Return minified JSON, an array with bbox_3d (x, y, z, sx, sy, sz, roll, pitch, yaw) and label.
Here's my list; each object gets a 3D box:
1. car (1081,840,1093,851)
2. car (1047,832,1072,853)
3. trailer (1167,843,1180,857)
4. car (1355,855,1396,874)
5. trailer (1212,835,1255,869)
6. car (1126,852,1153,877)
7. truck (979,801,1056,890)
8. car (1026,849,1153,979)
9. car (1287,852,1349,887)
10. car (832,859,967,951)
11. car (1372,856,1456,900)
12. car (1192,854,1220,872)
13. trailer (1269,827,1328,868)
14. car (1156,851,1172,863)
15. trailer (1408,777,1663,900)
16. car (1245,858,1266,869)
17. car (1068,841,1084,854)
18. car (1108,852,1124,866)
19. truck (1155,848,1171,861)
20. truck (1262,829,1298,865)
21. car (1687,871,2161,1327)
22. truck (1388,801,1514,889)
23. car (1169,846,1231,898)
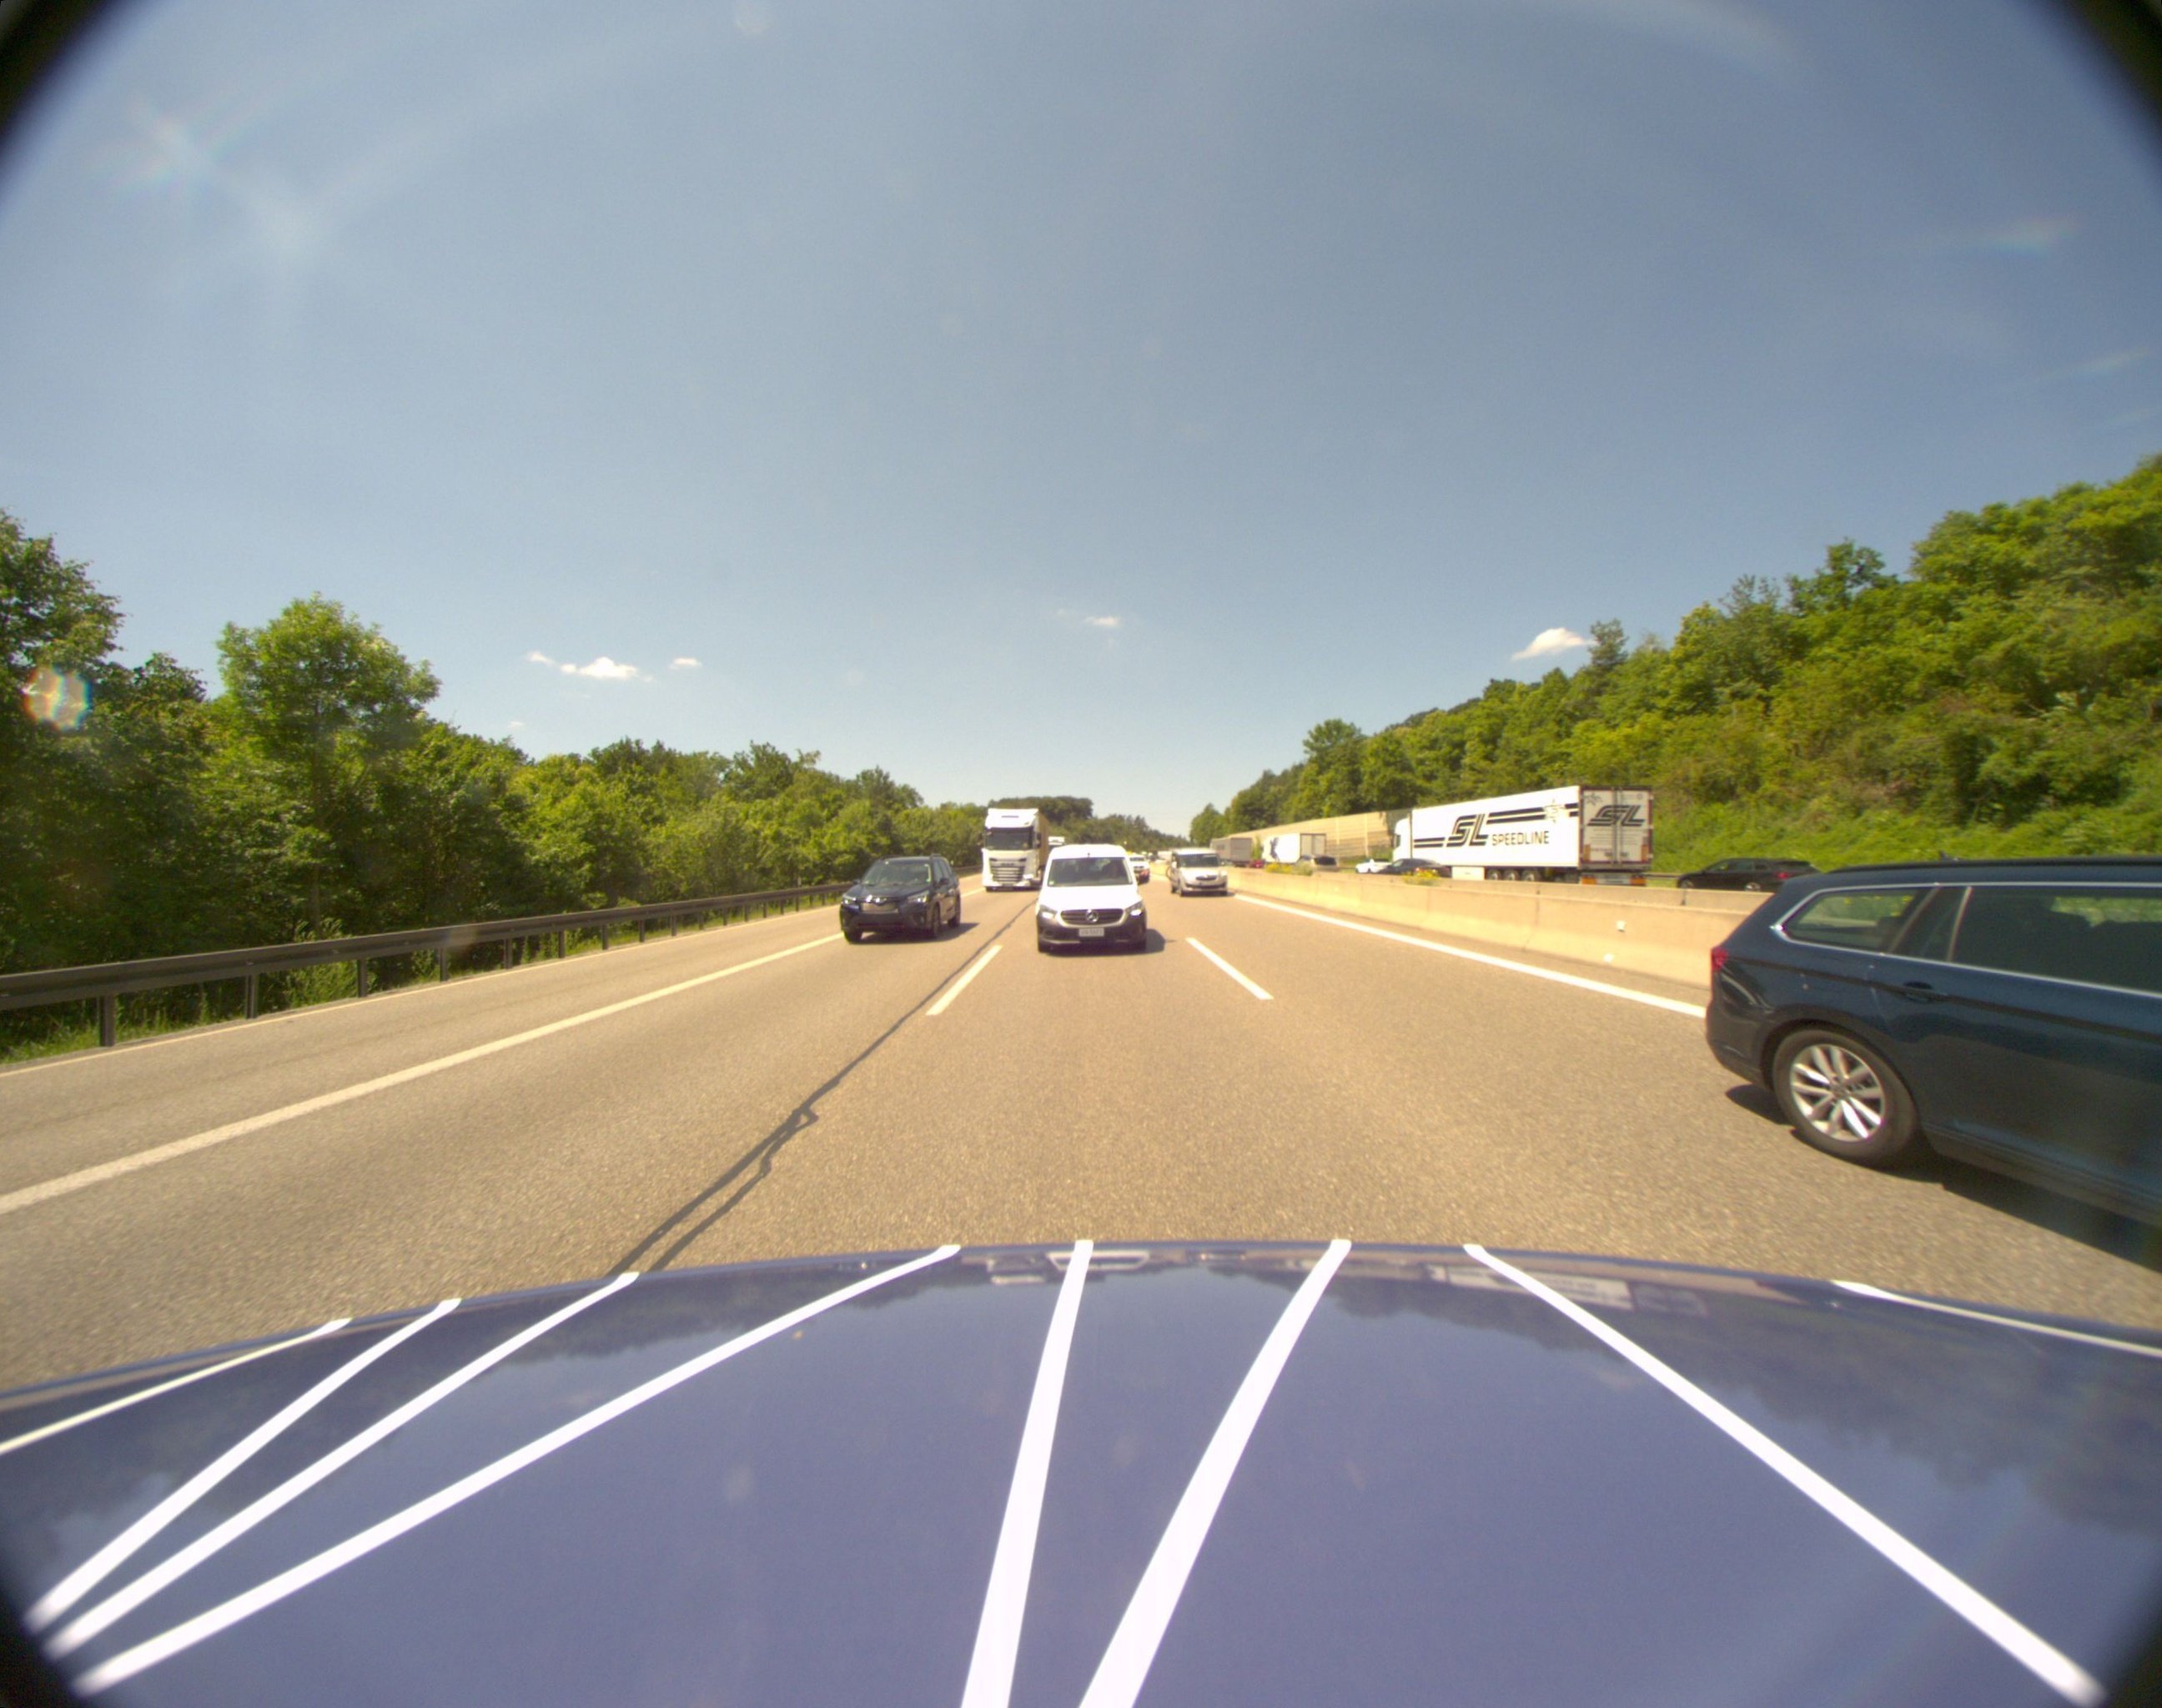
[{"bbox_3d":[1.563,-2.140,187.341,2.721,2.534,5.941,1,1,3],"label":"car"},{"bbox_3d":[-2.797,-1.485,98.992,2.721,2.534,5.941,1,1,3],"label":"car"},{"bbox_3d":[27.853,-1.275,229.013,2.819,3.886,13.827,1,1,2],"label":"trailer"},{"bbox_3d":[23.115,0.787,59.792,1.671,1.458,4.190,-1,0,0],"label":"car"},{"bbox_3d":[19.663,-0.358,99.180,2.842,4.141,14.737,1,1,1],"label":"trailer"},{"bbox_3d":[4.583,0.787,59.997,1.998,1.827,4.001,0,0,3],"label":"car"},{"bbox_3d":[-3.214,-0.424,43.564,2.790,4.144,16.267,0,0,1],"label":"truck"},{"bbox_3d":[0.192,0.825,12.676,1.729,1.760,4.313,-1,1,2],"label":"car"},{"bbox_3d":[12.753,0.798,41.218,1.888,1.746,4.787,1,1,0],"label":"car"},{"bbox_3d":[-3.733,0.976,16.393,1.816,1.658,4.203,-1,0,1],"label":"car"},{"bbox_3d":[15.133,1.038,34.811,1.789,1.766,4.730,1,1,0],"label":"car"},{"bbox_3d":[11.774,0.830,71.851,1.911,1.630,4.537,-1,0,0],"label":"car"},{"bbox_3d":[23.008,-0.682,81.245,2.814,4.024,12.624,0,1,0],"label":"trailer"},{"bbox_3d":[13.107,0.444,120.738,1.999,1.783,4.000,-2,0,-1],"label":"car"},{"bbox_3d":[18.984,-0.626,33.701,2.810,4.313,14.034,0,1,0],"label":"trailer"},{"bbox_3d":[22.684,1.224,98.964,1.767,1.362,4.501,0,0,1],"label":"car"},{"bbox_3d":[-0.997,-1.242,145.984,2.721,2.534,5.941,1,1,3],"label":"car"},{"bbox_3d":[4.721,0.717,103.724,1.998,1.783,4.000,-2,0,0],"label":"car"},{"bbox_3d":[18.459,0.064,171.825,2.534,2.673,11.627,1,1,1],"label":"truck"},{"bbox_3d":[23.035,-0.839,88.383,2.814,4.024,5.084,0,1,0],"label":"truck"},{"bbox_3d":[4.339,0.817,2.015,1.737,1.419,4.730,0,0,1],"label":"car"},{"bbox_3d":[18.962,-0.454,39.585,2.810,4.141,7.598,0,1,0],"label":"truck"},{"bbox_3d":[4.527,0.633,29.358,1.780,1.833,4.000,-1,0,1],"label":"car"}]
